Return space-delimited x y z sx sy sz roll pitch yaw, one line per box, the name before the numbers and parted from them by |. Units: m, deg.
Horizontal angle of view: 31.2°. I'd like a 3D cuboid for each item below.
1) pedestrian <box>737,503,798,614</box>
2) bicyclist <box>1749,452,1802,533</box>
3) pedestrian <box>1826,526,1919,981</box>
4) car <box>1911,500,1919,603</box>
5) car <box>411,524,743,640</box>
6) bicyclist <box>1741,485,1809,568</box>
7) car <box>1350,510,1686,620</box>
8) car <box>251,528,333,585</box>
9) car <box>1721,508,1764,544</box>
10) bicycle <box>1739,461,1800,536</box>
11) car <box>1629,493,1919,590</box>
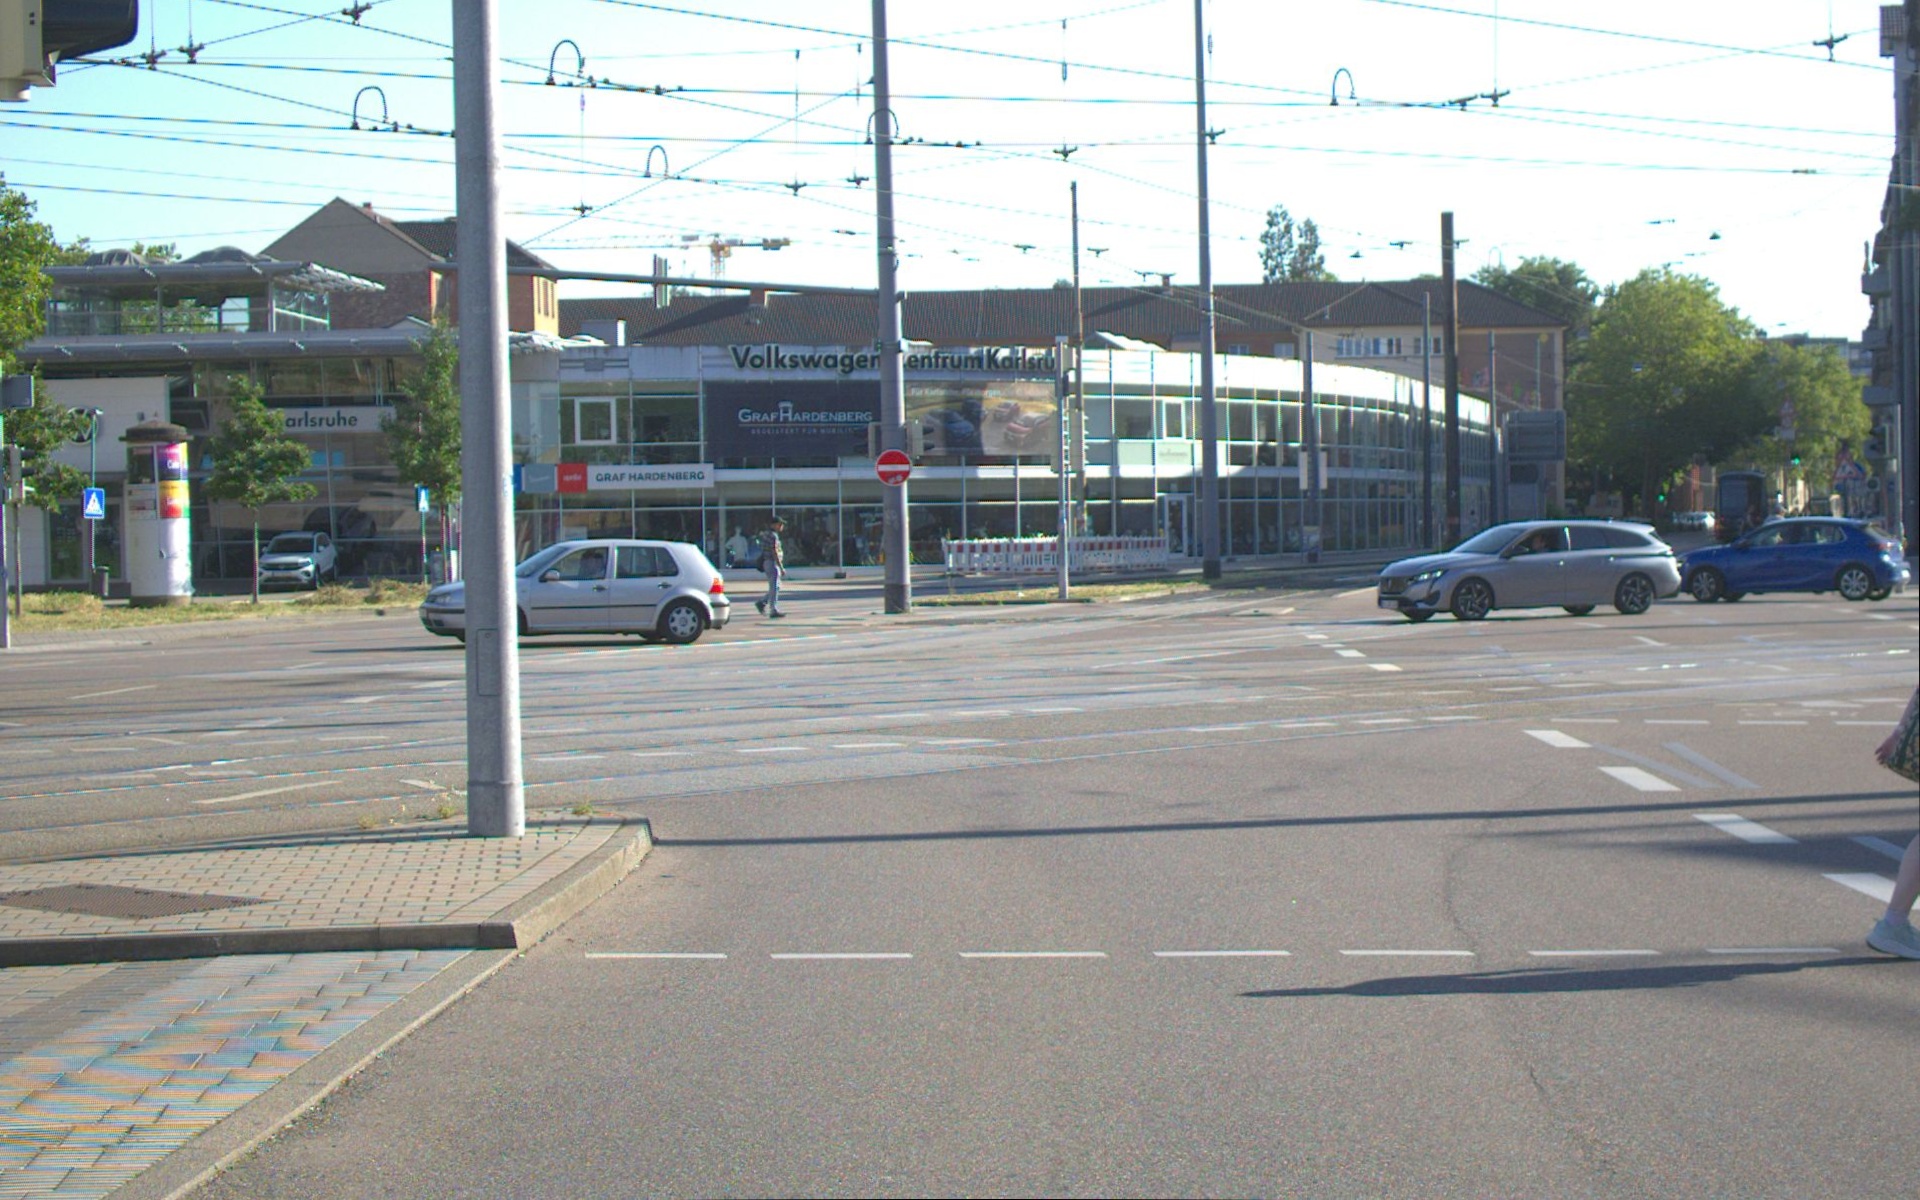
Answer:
pedestrian | -3.202 -0.698 57.272 0.989 1.810 0.920 0 3 -1
bicyclist | 19.464 -2.571 82.021 1.120 1.894 1.073 1 3 18
pedestrian | 3.859 0.537 12.652 1.092 1.601 0.699 0 3 -10
car | 15.874 -0.738 49.689 4.090 1.481 1.953 -2 1 -36
car | -5.182 -0.264 46.403 4.093 1.447 1.954 -1 1 -19
bicyclist | 15.555 -1.411 65.620 0.923 1.554 0.860 -1 3 -22
car | 8.290 -0.537 51.121 4.543 1.512 1.954 -1 1 -21
car | -19.792 -1.301 101.923 1.993 1.529 4.001 0 3 -5
car | 37.660 -3.572 165.513 1.802 1.650 3.916 1 3 10
bicycle | 19.326 -2.442 81.971 1.136 1.684 3.997 1 3 17
car | 14.086 -1.006 59.396 4.608 1.588 1.951 0 1 26
